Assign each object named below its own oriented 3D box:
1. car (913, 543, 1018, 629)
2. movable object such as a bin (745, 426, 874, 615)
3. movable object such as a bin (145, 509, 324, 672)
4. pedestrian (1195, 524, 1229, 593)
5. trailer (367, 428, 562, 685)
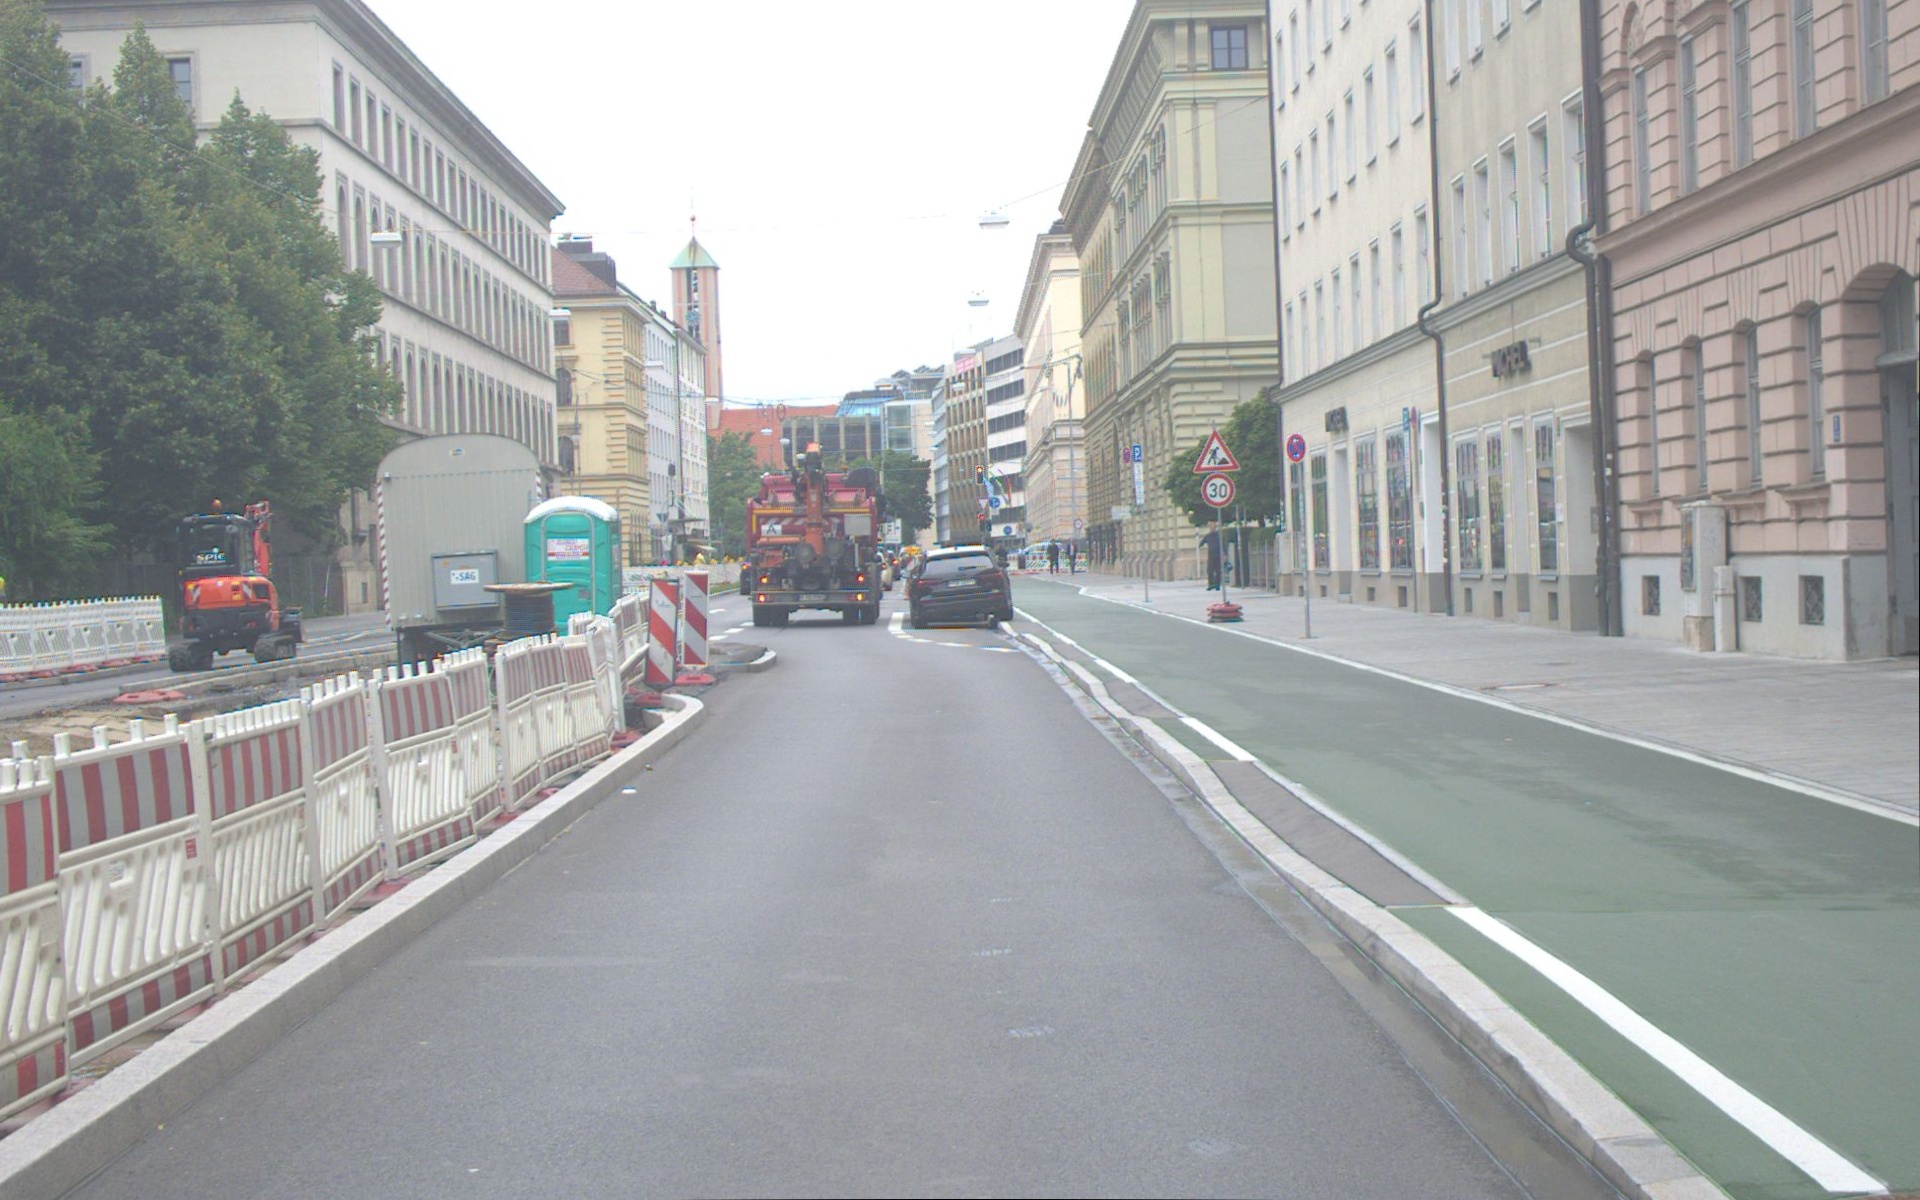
[{"bbox_3d":[0.067,-0.296,65.211,1.801,1.475,4.687,-2,1,-2],"label":"car"},{"bbox_3d":[-3.006,-1.593,69.636,2.423,3.599,5.852,-1,1,-2],"label":"movable object such as a bin"},{"bbox_3d":[-12.026,-0.202,57.255,1.924,2.563,4.492,-1,1,1],"label":"movable object such as a bin"},{"bbox_3d":[6.817,-1.139,93.000,0.790,1.830,0.777,-2,1,1],"label":"pedestrian"},{"bbox_3d":[-6.832,-0.623,48.167,2.226,3.232,7.521,-2,1,-5],"label":"trailer"}]
